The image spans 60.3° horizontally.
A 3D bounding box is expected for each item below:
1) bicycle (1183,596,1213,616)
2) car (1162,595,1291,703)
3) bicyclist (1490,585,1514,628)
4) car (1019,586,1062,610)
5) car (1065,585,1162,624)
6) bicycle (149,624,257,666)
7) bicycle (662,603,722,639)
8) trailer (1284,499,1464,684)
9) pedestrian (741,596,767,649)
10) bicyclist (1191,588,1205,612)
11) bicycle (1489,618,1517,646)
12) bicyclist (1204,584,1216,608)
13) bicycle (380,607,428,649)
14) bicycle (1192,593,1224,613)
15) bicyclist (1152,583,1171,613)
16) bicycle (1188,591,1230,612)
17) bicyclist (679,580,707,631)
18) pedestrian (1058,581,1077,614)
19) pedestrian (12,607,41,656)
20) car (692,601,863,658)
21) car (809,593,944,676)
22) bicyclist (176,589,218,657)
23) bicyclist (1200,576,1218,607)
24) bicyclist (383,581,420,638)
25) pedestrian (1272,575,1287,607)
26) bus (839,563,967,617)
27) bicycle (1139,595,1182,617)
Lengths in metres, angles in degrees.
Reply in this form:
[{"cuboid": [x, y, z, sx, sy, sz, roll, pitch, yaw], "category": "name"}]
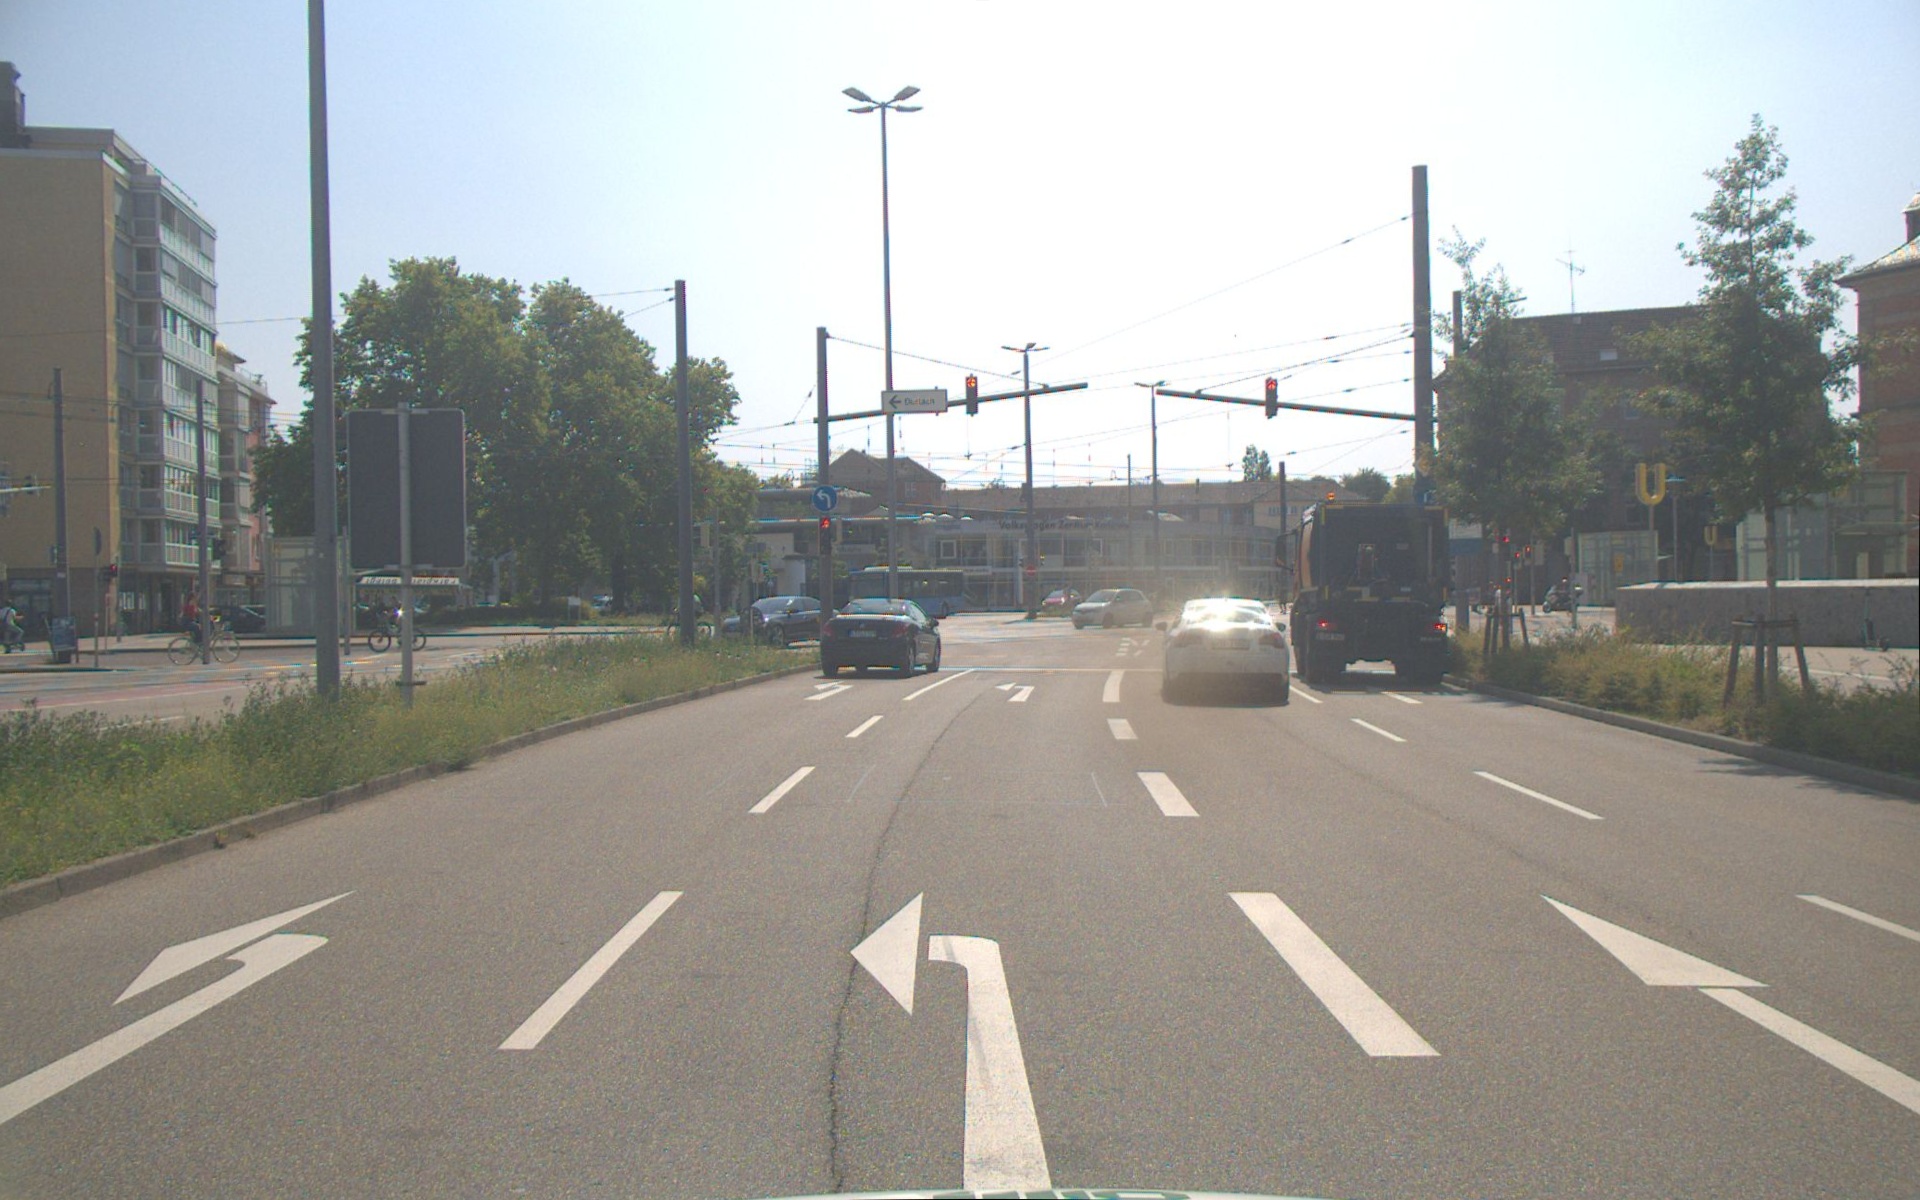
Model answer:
[{"cuboid": [12.539, 0.304, 87.175, 1.570, 1.002, 0.503, -1, 0, -25], "category": "bicycle"}, {"cuboid": [4.006, 0.686, 25.417, 1.720, 1.480, 4.429, 0, 0, 6], "category": "car"}, {"cuboid": [16.954, 0.198, 51.743, 0.660, 1.343, 0.684, -1, 0, 14], "category": "bicyclist"}, {"cuboid": [5.076, -0.149, 103.877, 1.692, 1.444, 3.841, -1, 0, 20], "category": "car"}, {"cuboid": [6.159, 0.179, 65.945, 1.745, 1.450, 4.040, -1, 0, 43], "category": "car"}, {"cuboid": [-19.044, 1.118, 41.646, 2.367, 0.970, 0.602, -1, 0, -13], "category": "bicycle"}, {"cuboid": [-8.959, 0.694, 55.314, 0.685, 1.156, 2.033, -1, 0, 39], "category": "bicycle"}, {"cuboid": [7.516, -0.177, 30.715, 2.410, 3.060, 6.330, 1, 1, 7], "category": "trailer"}, {"cuboid": [-5.160, 0.554, 41.482, 0.585, 1.290, 0.503, -1, 2, -13], "category": "pedestrian"}, {"cuboid": [12.543, 0.007, 87.185, 0.586, 1.269, 0.503, -1, 0, -24], "category": "bicyclist"}, {"cuboid": [16.986, 0.992, 51.800, 0.660, 0.790, 2.129, -1, 0, 14], "category": "bicycle"}, {"cuboid": [12.930, -0.211, 85.385, 0.493, 1.209, 0.507, -1, 0, 22], "category": "bicyclist"}, {"cuboid": [-16.800, 0.822, 49.901, 0.960, 1.199, 2.807, -1, 0, -27], "category": "bicycle"}, {"cuboid": [12.801, 0.143, 85.439, 1.558, 1.002, 0.507, -1, 0, 22], "category": "bicycle"}, {"cuboid": [10.695, -0.127, 87.806, 0.784, 1.568, 0.760, -1, 0, -13], "category": "bicyclist"}, {"cuboid": [13.441, 0.089, 89.294, 2.157, 1.106, 0.761, -1, 0, -10], "category": "bicycle"}, {"cuboid": [-8.929, 0.186, 55.353, 0.680, 1.678, 0.616, 0, 1, 40], "category": "bicyclist"}, {"cuboid": [5.755, -0.134, 88.539, 0.767, 1.782, 0.809, -1, 0, 21], "category": "pedestrian"}, {"cuboid": [-32.126, 1.087, 56.925, 0.637, 1.661, 0.812, -1, 0, -11], "category": "pedestrian"}, {"cuboid": [-5.143, 0.818, 46.976, 4.525, 1.463, 1.970, -1, 0, -42], "category": "car"}, {"cuboid": [-1.490, 0.599, 31.108, 1.720, 1.429, 3.984, 0, 0, 9], "category": "car"}, {"cuboid": [-19.201, 0.579, 41.621, 0.824, 1.671, 0.605, -1, 0, -13], "category": "bicyclist"}, {"cuboid": [13.436, -0.457, 89.293, 0.748, 1.662, 0.761, -1, 0, -10], "category": "bicyclist"}, {"cuboid": [-16.931, 0.286, 50.158, 0.961, 1.683, 0.656, -1, 0, -28], "category": "bicyclist"}, {"cuboid": [17.808, -0.514, 92.134, 0.611, 1.782, 0.626, -1, 0, -11], "category": "pedestrian"}, {"cuboid": [-3.175, -0.618, 97.086, 2.991, 2.982, 11.852, -1, 0, 22], "category": "bus"}, {"cuboid": [10.649, 0.330, 87.806, 2.159, 1.106, 0.760, -1, 0, -14], "category": "bicycle"}]
